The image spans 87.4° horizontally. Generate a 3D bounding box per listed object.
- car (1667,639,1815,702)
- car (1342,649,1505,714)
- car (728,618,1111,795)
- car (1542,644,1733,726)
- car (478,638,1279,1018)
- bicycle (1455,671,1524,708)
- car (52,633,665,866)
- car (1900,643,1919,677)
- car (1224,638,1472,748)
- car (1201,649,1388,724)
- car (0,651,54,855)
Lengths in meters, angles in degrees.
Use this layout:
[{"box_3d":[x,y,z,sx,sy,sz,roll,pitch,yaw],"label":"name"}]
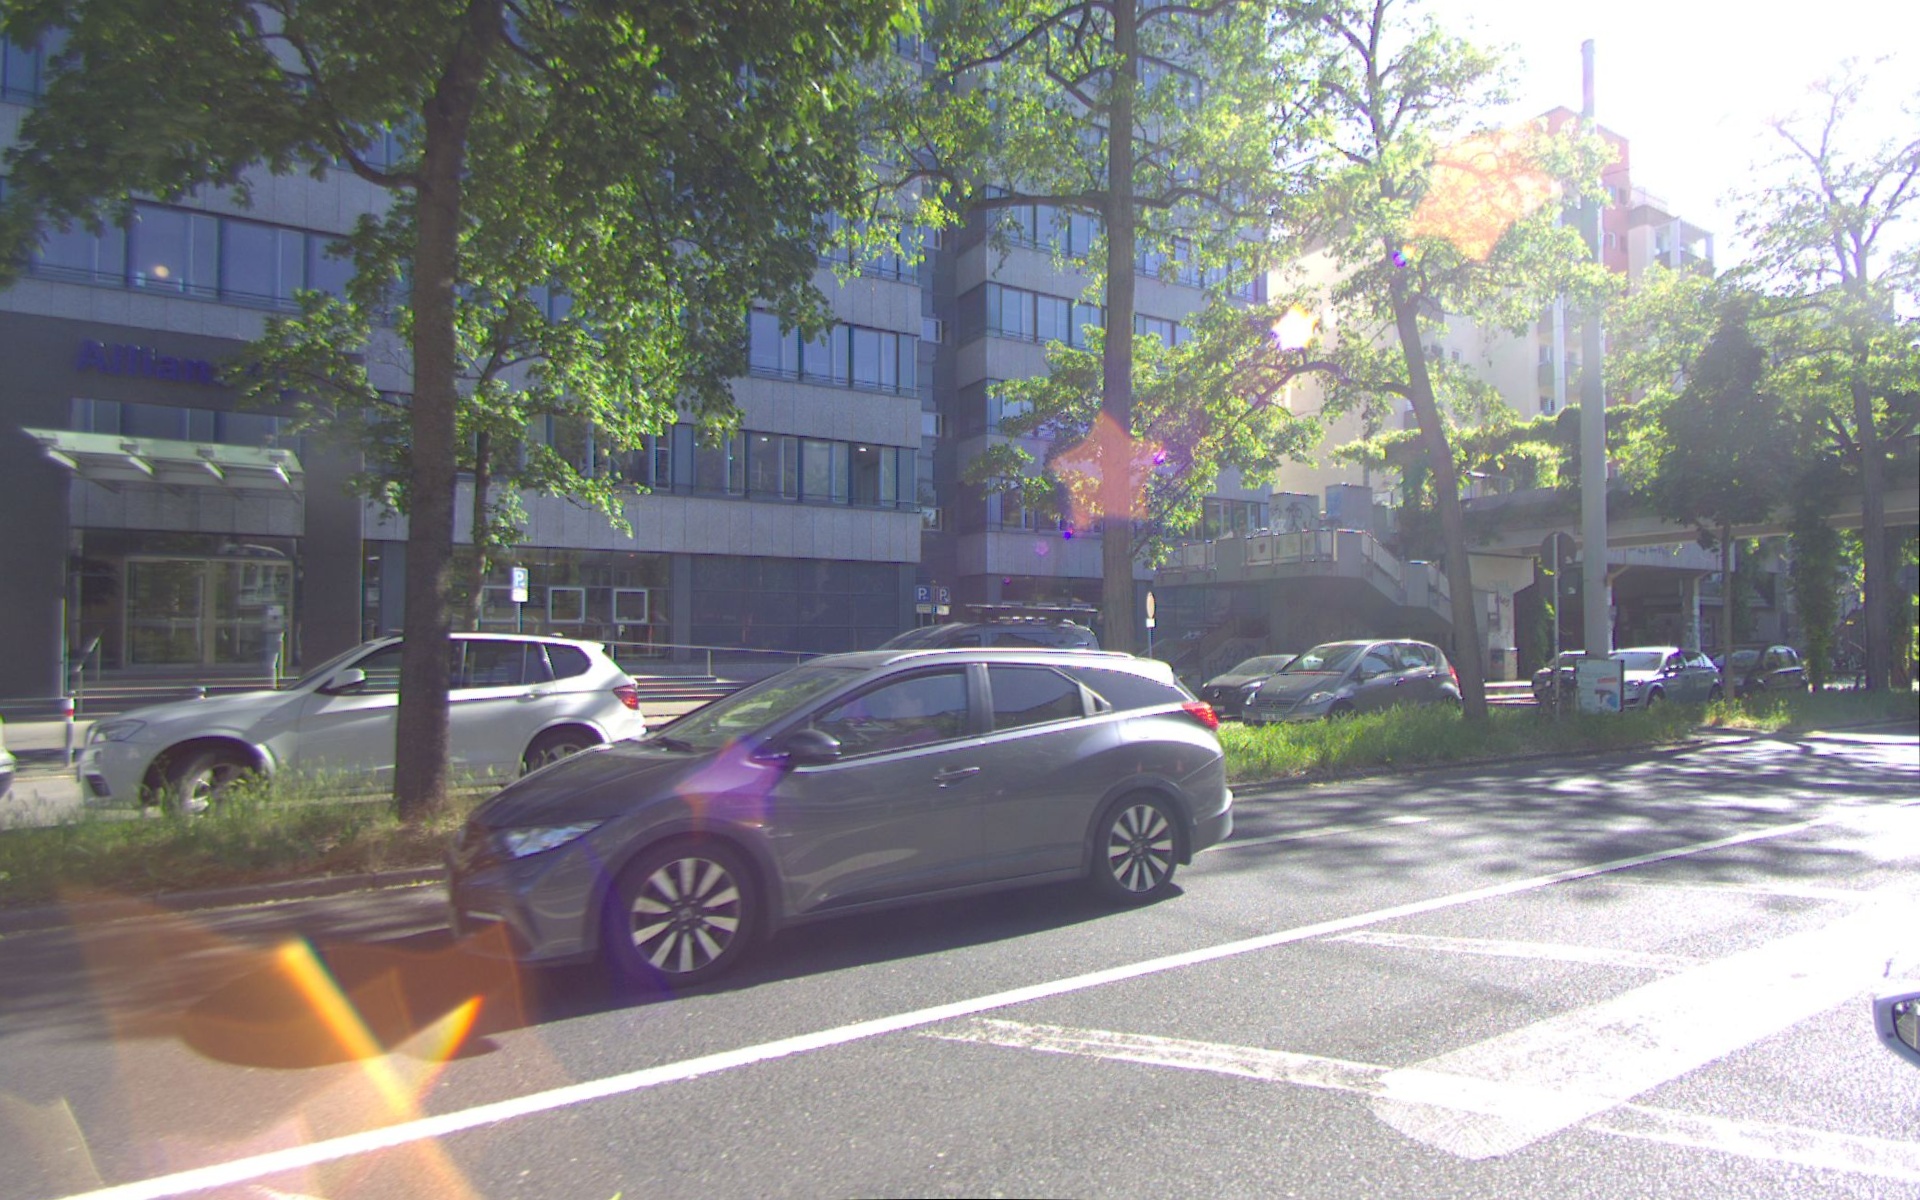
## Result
[{"box_3d":[18.252,1.595,23.461,3.542,1.324,1.624,1,-2,-32],"label":"car"},{"box_3d":[12.197,2.074,26.374,4.270,1.543,1.846,1,-3,-32],"label":"car"},{"box_3d":[-0.430,1.186,12.633,4.511,1.874,1.846,1,-1,-32],"label":"car"},{"box_3d":[14.558,1.745,21.533,4.270,1.543,1.846,1,-2,-32],"label":"car"},{"box_3d":[-0.344,0.980,5.830,4.270,1.458,1.846,1,-4,-32],"label":"car"},{"box_3d":[16.466,2.763,31.237,2.578,1.035,0.709,1,-1,-32],"label":"bicycle"},{"box_3d":[-5.394,1.179,9.579,4.621,1.706,1.843,1,-2,-36],"label":"car"},{"box_3d":[46.794,2.860,47.898,4.270,1.543,1.846,1,-2,-32],"label":"car"},{"box_3d":[6.396,1.432,16.514,3.826,1.589,1.847,1,-1,-30],"label":"car"},{"box_3d":[7.802,1.938,23.338,4.270,1.543,1.846,1,-3,-32],"label":"car"},{"box_3d":[-9.294,1.165,7.040,4.014,1.543,1.847,1,-1,-30],"label":"car"}]
